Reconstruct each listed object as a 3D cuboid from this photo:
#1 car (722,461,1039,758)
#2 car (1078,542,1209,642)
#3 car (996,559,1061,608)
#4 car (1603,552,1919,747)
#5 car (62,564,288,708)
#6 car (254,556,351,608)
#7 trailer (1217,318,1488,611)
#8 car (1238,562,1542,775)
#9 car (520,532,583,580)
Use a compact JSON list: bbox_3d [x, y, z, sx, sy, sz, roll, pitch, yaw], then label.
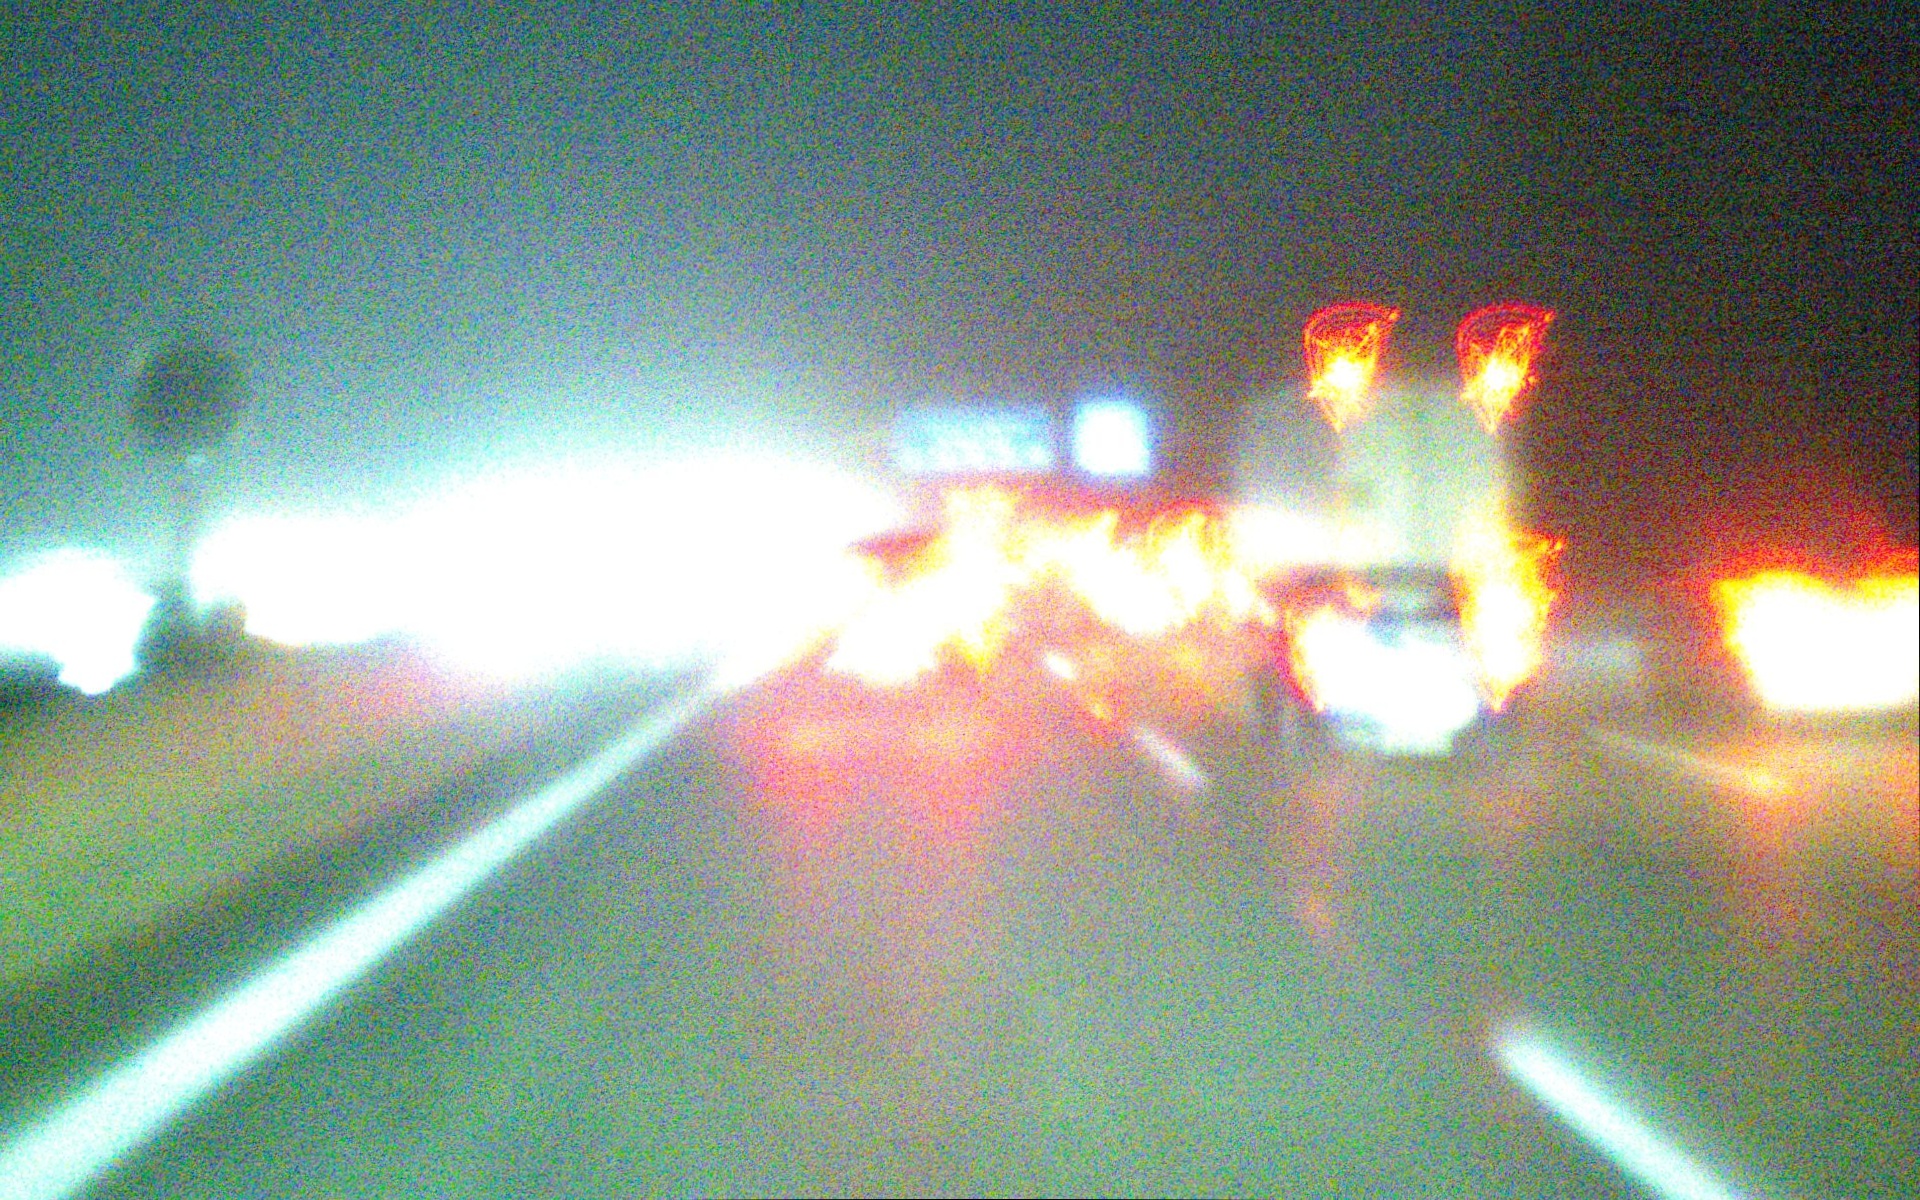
[{"bbox_3d":[-0.805,0.008,33.286,2.709,2.525,5.832,-2,1,-2],"label":"car"},{"bbox_3d":[2.989,-0.163,56.826,1.884,1.583,4.000,0,1,-1],"label":"car"},{"bbox_3d":[2.303,-0.583,117.053,2.137,1.612,4.000,1,1,0],"label":"car"},{"bbox_3d":[7.090,0.363,29.922,1.894,1.481,4.962,1,1,-2],"label":"car"},{"bbox_3d":[-8.892,0.369,39.252,1.678,1.442,4.287,-2,1,-2],"label":"car"},{"bbox_3d":[-18.174,-0.521,95.155,1.962,1.340,4.289,0,2,-2],"label":"car"},{"bbox_3d":[6.105,-2.055,55.613,2.803,4.198,12.097,0,1,-1],"label":"trailer"},{"bbox_3d":[3.040,0.440,24.968,1.612,1.407,3.792,0,1,-2],"label":"car"},{"bbox_3d":[-14.157,-1.552,119.349,1.650,1.576,5.128,0,2,0],"label":"car"}]
